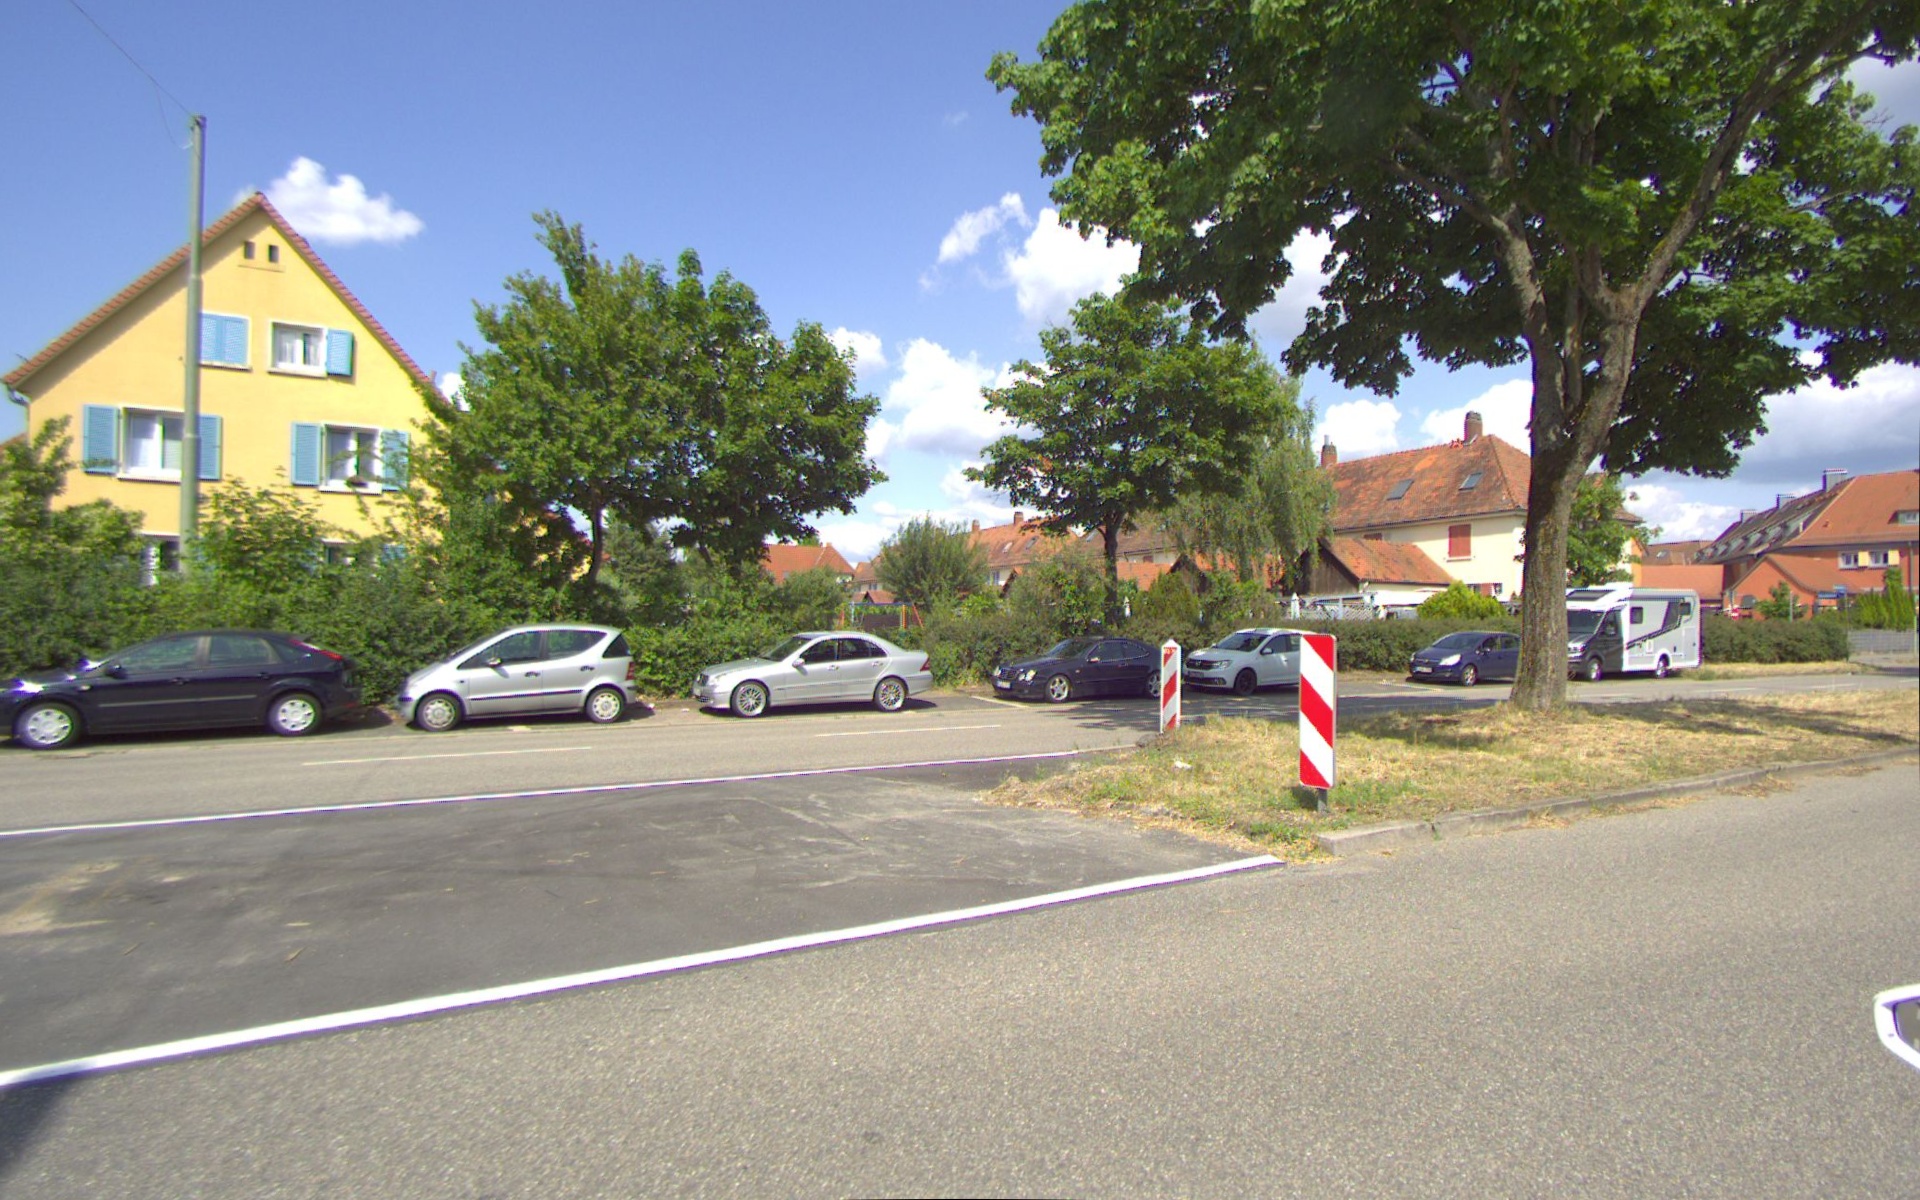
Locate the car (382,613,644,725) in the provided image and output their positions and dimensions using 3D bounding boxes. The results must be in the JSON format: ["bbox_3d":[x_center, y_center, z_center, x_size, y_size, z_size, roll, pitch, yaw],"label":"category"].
[{"bbox_3d":[-7.138,1.051,16.132,3.699,1.578,1.395,1,1,-31],"label":"car"}]

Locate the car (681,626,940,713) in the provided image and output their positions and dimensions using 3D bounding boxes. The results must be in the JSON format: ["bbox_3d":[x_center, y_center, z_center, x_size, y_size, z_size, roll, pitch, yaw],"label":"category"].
[{"bbox_3d":[-2.705,1.215,18.506,4.475,1.388,1.504,1,1,-29],"label":"car"}]

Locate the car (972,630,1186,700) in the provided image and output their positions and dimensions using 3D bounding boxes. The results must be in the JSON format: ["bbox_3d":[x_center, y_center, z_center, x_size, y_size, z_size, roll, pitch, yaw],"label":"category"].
[{"bbox_3d":[2.623,1.350,21.809,4.527,1.324,1.629,1,1,-29],"label":"car"}]

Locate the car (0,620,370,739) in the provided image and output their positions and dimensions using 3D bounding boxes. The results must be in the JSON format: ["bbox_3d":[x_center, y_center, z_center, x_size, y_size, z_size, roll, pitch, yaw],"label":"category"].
[{"bbox_3d":[-10.723,1.035,13.972,4.306,1.413,1.395,1,1,-31],"label":"car"}]

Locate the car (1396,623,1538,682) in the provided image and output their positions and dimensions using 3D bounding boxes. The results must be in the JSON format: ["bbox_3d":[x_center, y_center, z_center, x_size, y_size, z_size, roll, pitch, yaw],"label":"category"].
[{"bbox_3d":[14.380,1.488,28.448,3.944,1.505,1.629,2,0,-29],"label":"car"}]

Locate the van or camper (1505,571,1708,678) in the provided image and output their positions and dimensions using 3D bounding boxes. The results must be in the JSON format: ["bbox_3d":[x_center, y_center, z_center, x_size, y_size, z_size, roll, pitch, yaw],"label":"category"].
[{"bbox_3d":[20.811,0.722,32.217,7.230,3.154,2.249,1,1,-29],"label":"van or camper"}]

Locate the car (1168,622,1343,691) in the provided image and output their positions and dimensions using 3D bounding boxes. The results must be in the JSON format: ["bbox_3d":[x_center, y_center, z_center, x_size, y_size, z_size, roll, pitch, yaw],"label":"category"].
[{"bbox_3d":[7.230,1.356,24.486,4.073,1.505,1.681,2,0,-29],"label":"car"}]
